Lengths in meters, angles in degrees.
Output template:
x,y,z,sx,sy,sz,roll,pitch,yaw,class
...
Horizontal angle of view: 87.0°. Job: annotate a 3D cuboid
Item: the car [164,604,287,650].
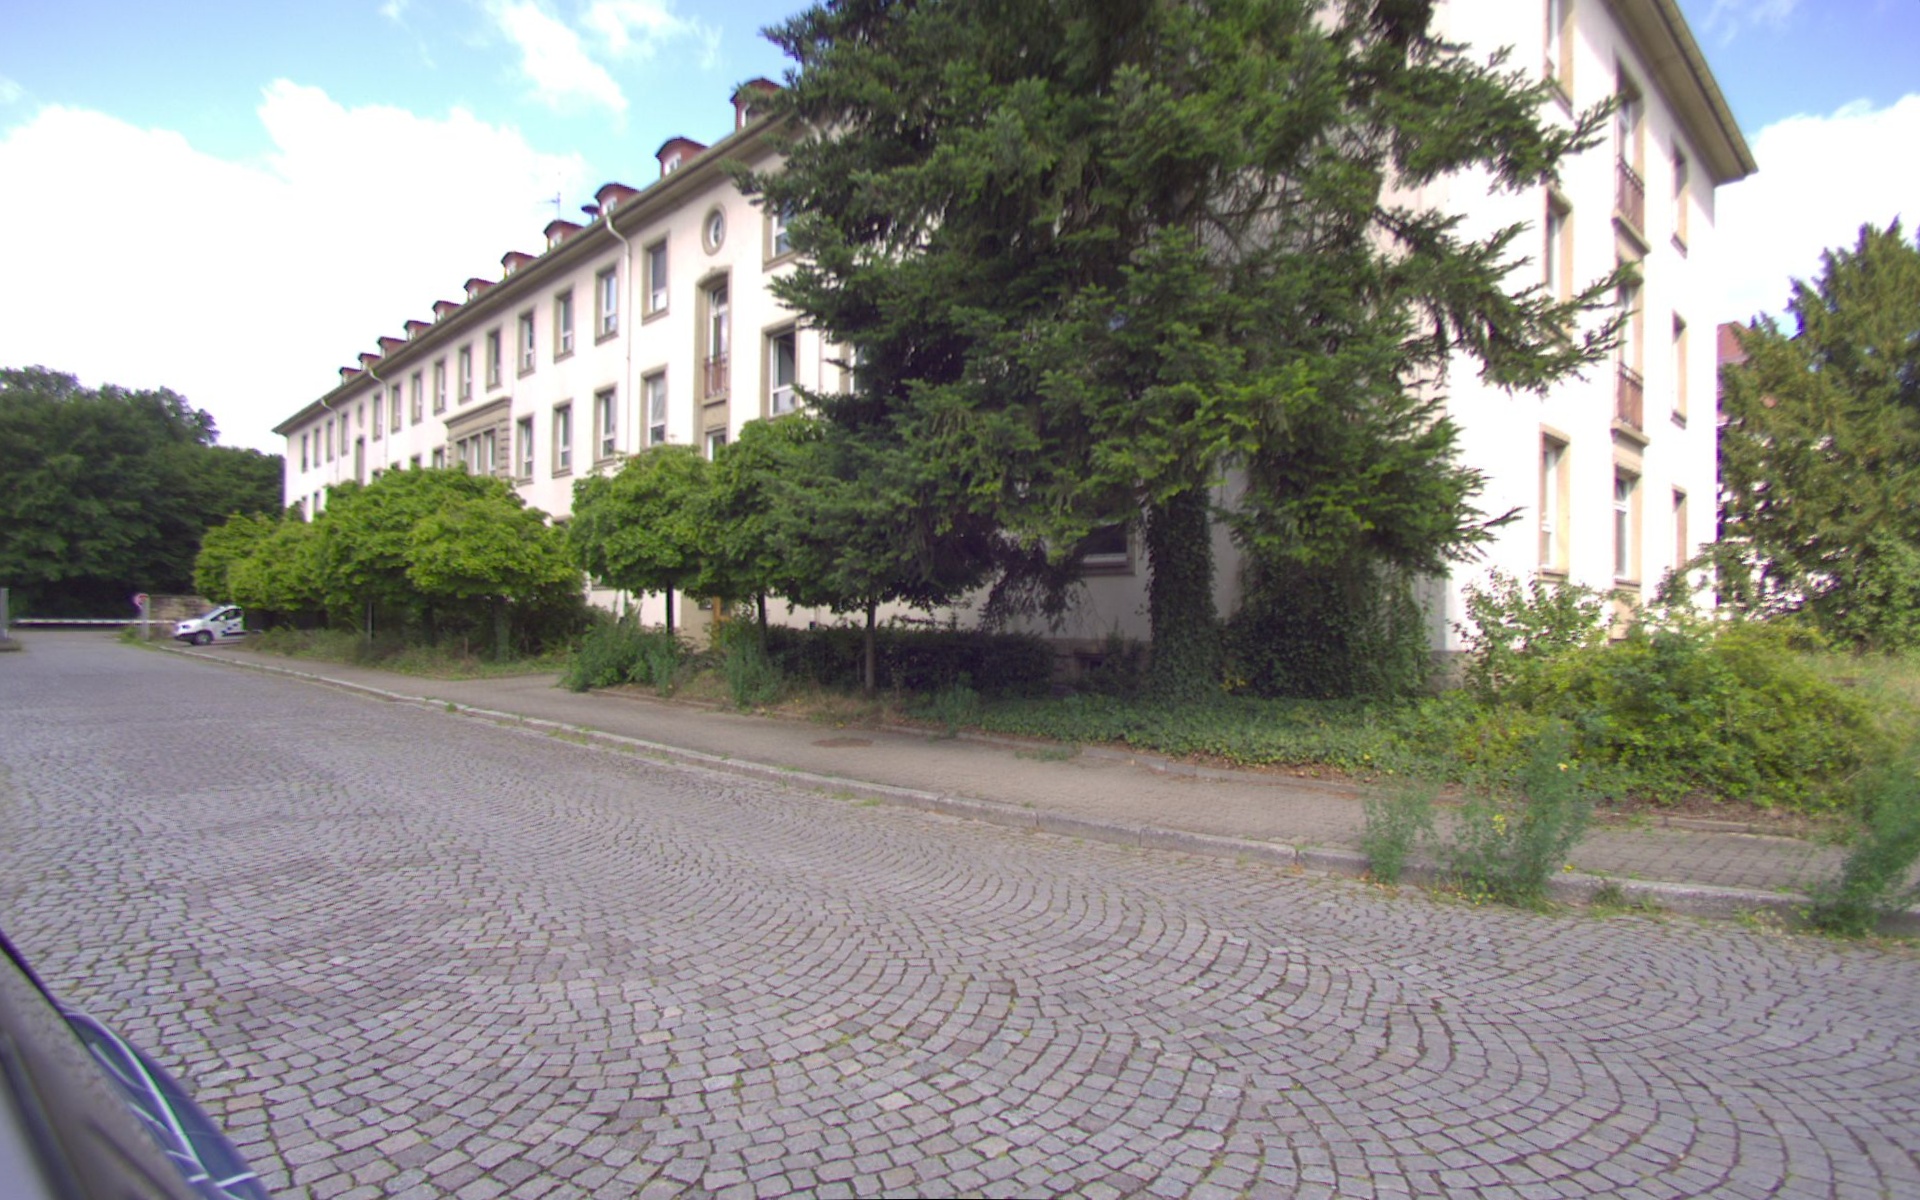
x,y,z,sx,sy,sz,roll,pitch,yaw,class
-33.547,1.181,46.317,1.820,1.819,4.254,0,2,43,car
